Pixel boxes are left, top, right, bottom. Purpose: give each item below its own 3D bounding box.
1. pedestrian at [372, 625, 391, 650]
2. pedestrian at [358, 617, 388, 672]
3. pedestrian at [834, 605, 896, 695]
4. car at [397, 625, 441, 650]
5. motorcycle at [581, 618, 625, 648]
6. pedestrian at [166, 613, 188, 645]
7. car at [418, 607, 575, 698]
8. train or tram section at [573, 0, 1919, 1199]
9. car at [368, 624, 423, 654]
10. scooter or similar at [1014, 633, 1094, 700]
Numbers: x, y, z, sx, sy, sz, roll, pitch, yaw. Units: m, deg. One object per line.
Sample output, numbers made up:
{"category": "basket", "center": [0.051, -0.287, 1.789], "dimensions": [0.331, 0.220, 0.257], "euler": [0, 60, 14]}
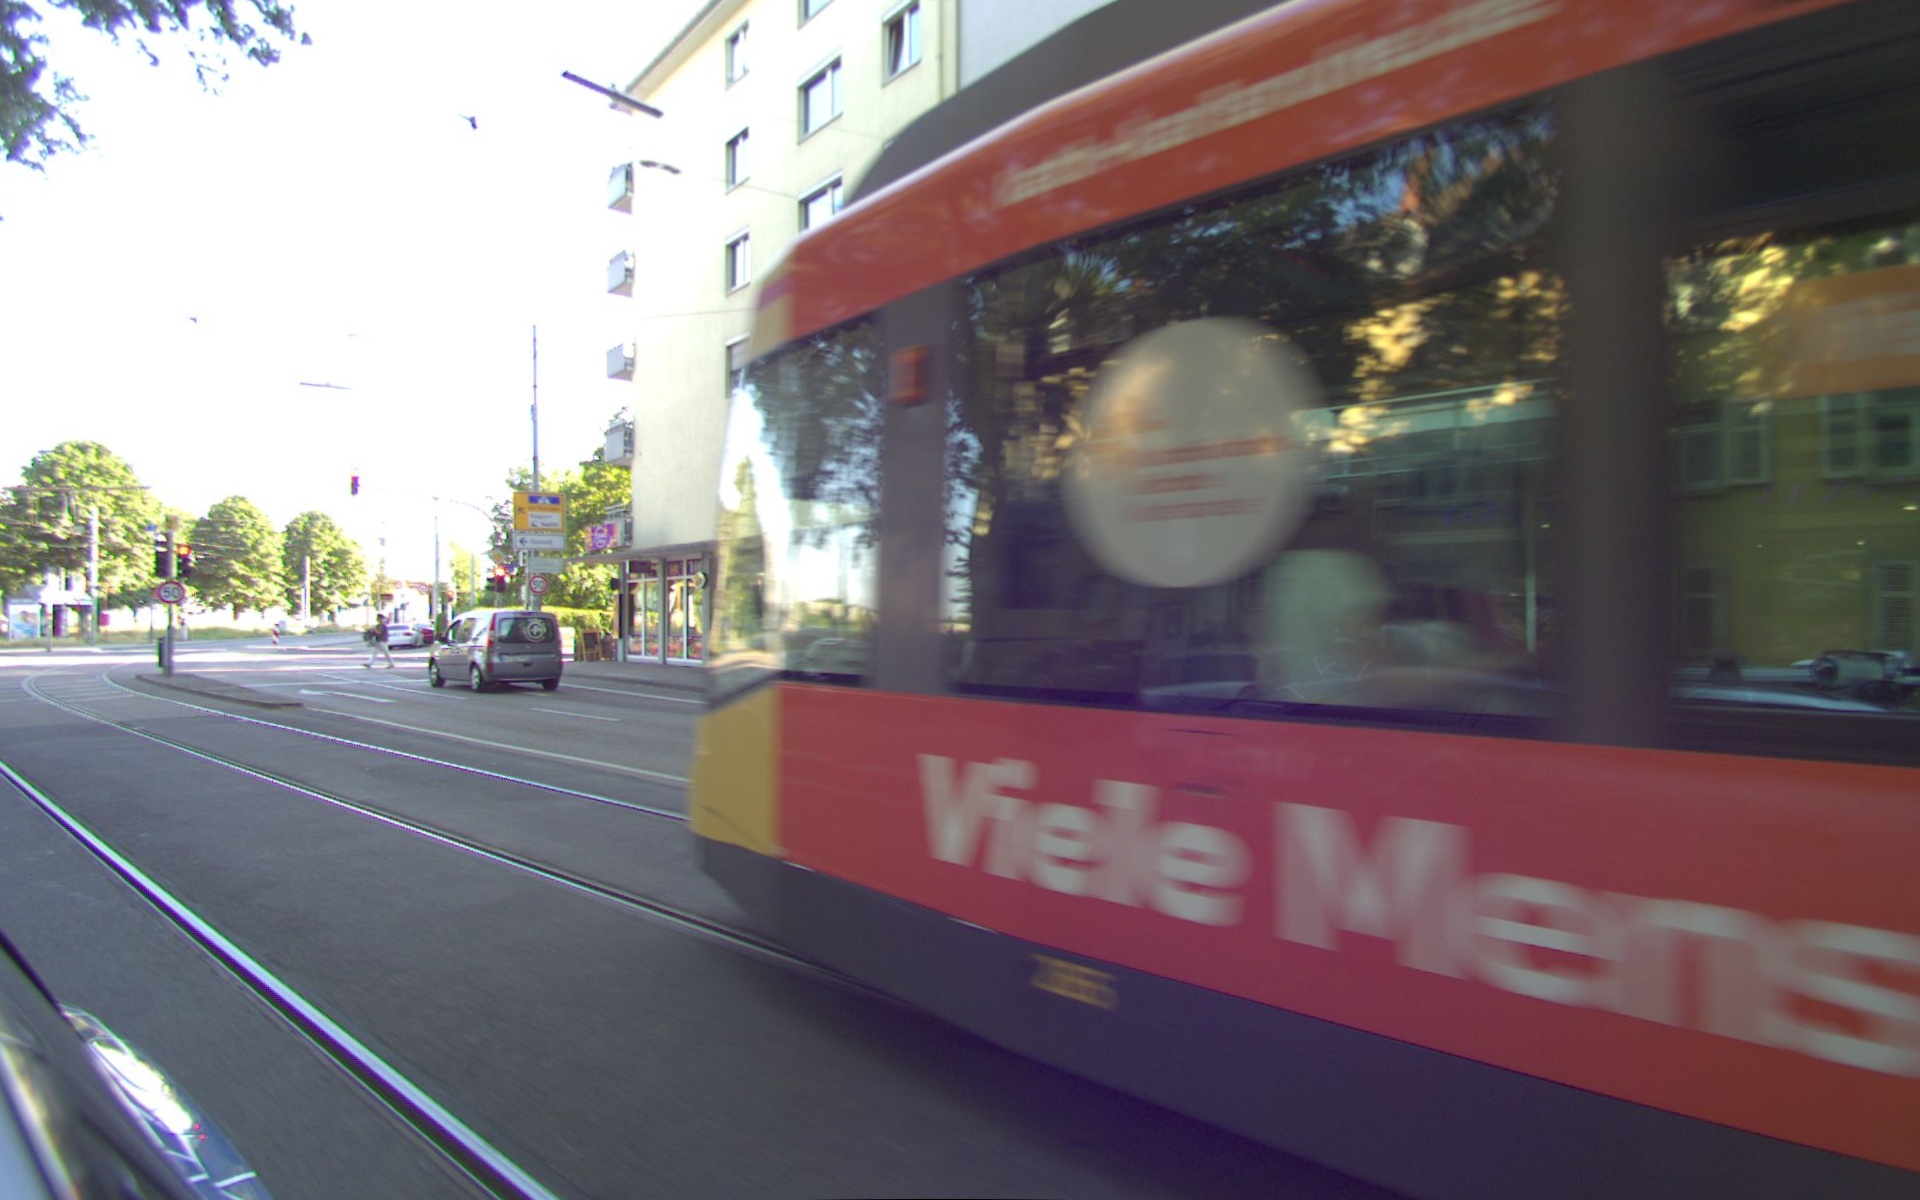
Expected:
{"category": "pedestrian", "center": [-46.903, 3.054, 82.060], "dimensions": [0.871, 2.029, 0.994], "euler": [-1, -1, 20]}
{"category": "pedestrian", "center": [-18.336, 1.380, 31.598], "dimensions": [0.742, 1.693, 0.795], "euler": [0, -1, -34]}
{"category": "pedestrian", "center": [-1.877, 0.967, 20.008], "dimensions": [0.904, 1.686, 0.707], "euler": [-1, 3, 42]}
{"category": "car", "center": [-31.030, 2.136, 58.105], "dimensions": [1.614, 1.333, 3.349], "euler": [-2, 0, -18]}
{"category": "motorcycle", "center": [-14.212, 1.303, 40.312], "dimensions": [2.092, 1.140, 0.748], "euler": [-1, -1, 42]}
{"category": "pedestrian", "center": [-50.802, 1.875, 65.668], "dimensions": [0.858, 2.029, 0.902], "euler": [-1, -1, 36]}
{"category": "car", "center": [-10.501, 1.103, 22.766], "dimensions": [1.970, 1.846, 4.228], "euler": [1, -2, -43]}
{"category": "train or tram section", "center": [4.439, -0.486, 0.635], "dimensions": [13.363, 3.512, 2.878], "euler": [-1, -1, 41]}
{"category": "car", "center": [-29.743, 2.036, 53.438], "dimensions": [1.787, 1.439, 3.752], "euler": [-2, 0, -18]}
{"category": "scooter or similar", "center": [1.620, 1.125, 17.526], "dimensions": [1.162, 1.063, 0.722], "euler": [-1, 1, 41]}
